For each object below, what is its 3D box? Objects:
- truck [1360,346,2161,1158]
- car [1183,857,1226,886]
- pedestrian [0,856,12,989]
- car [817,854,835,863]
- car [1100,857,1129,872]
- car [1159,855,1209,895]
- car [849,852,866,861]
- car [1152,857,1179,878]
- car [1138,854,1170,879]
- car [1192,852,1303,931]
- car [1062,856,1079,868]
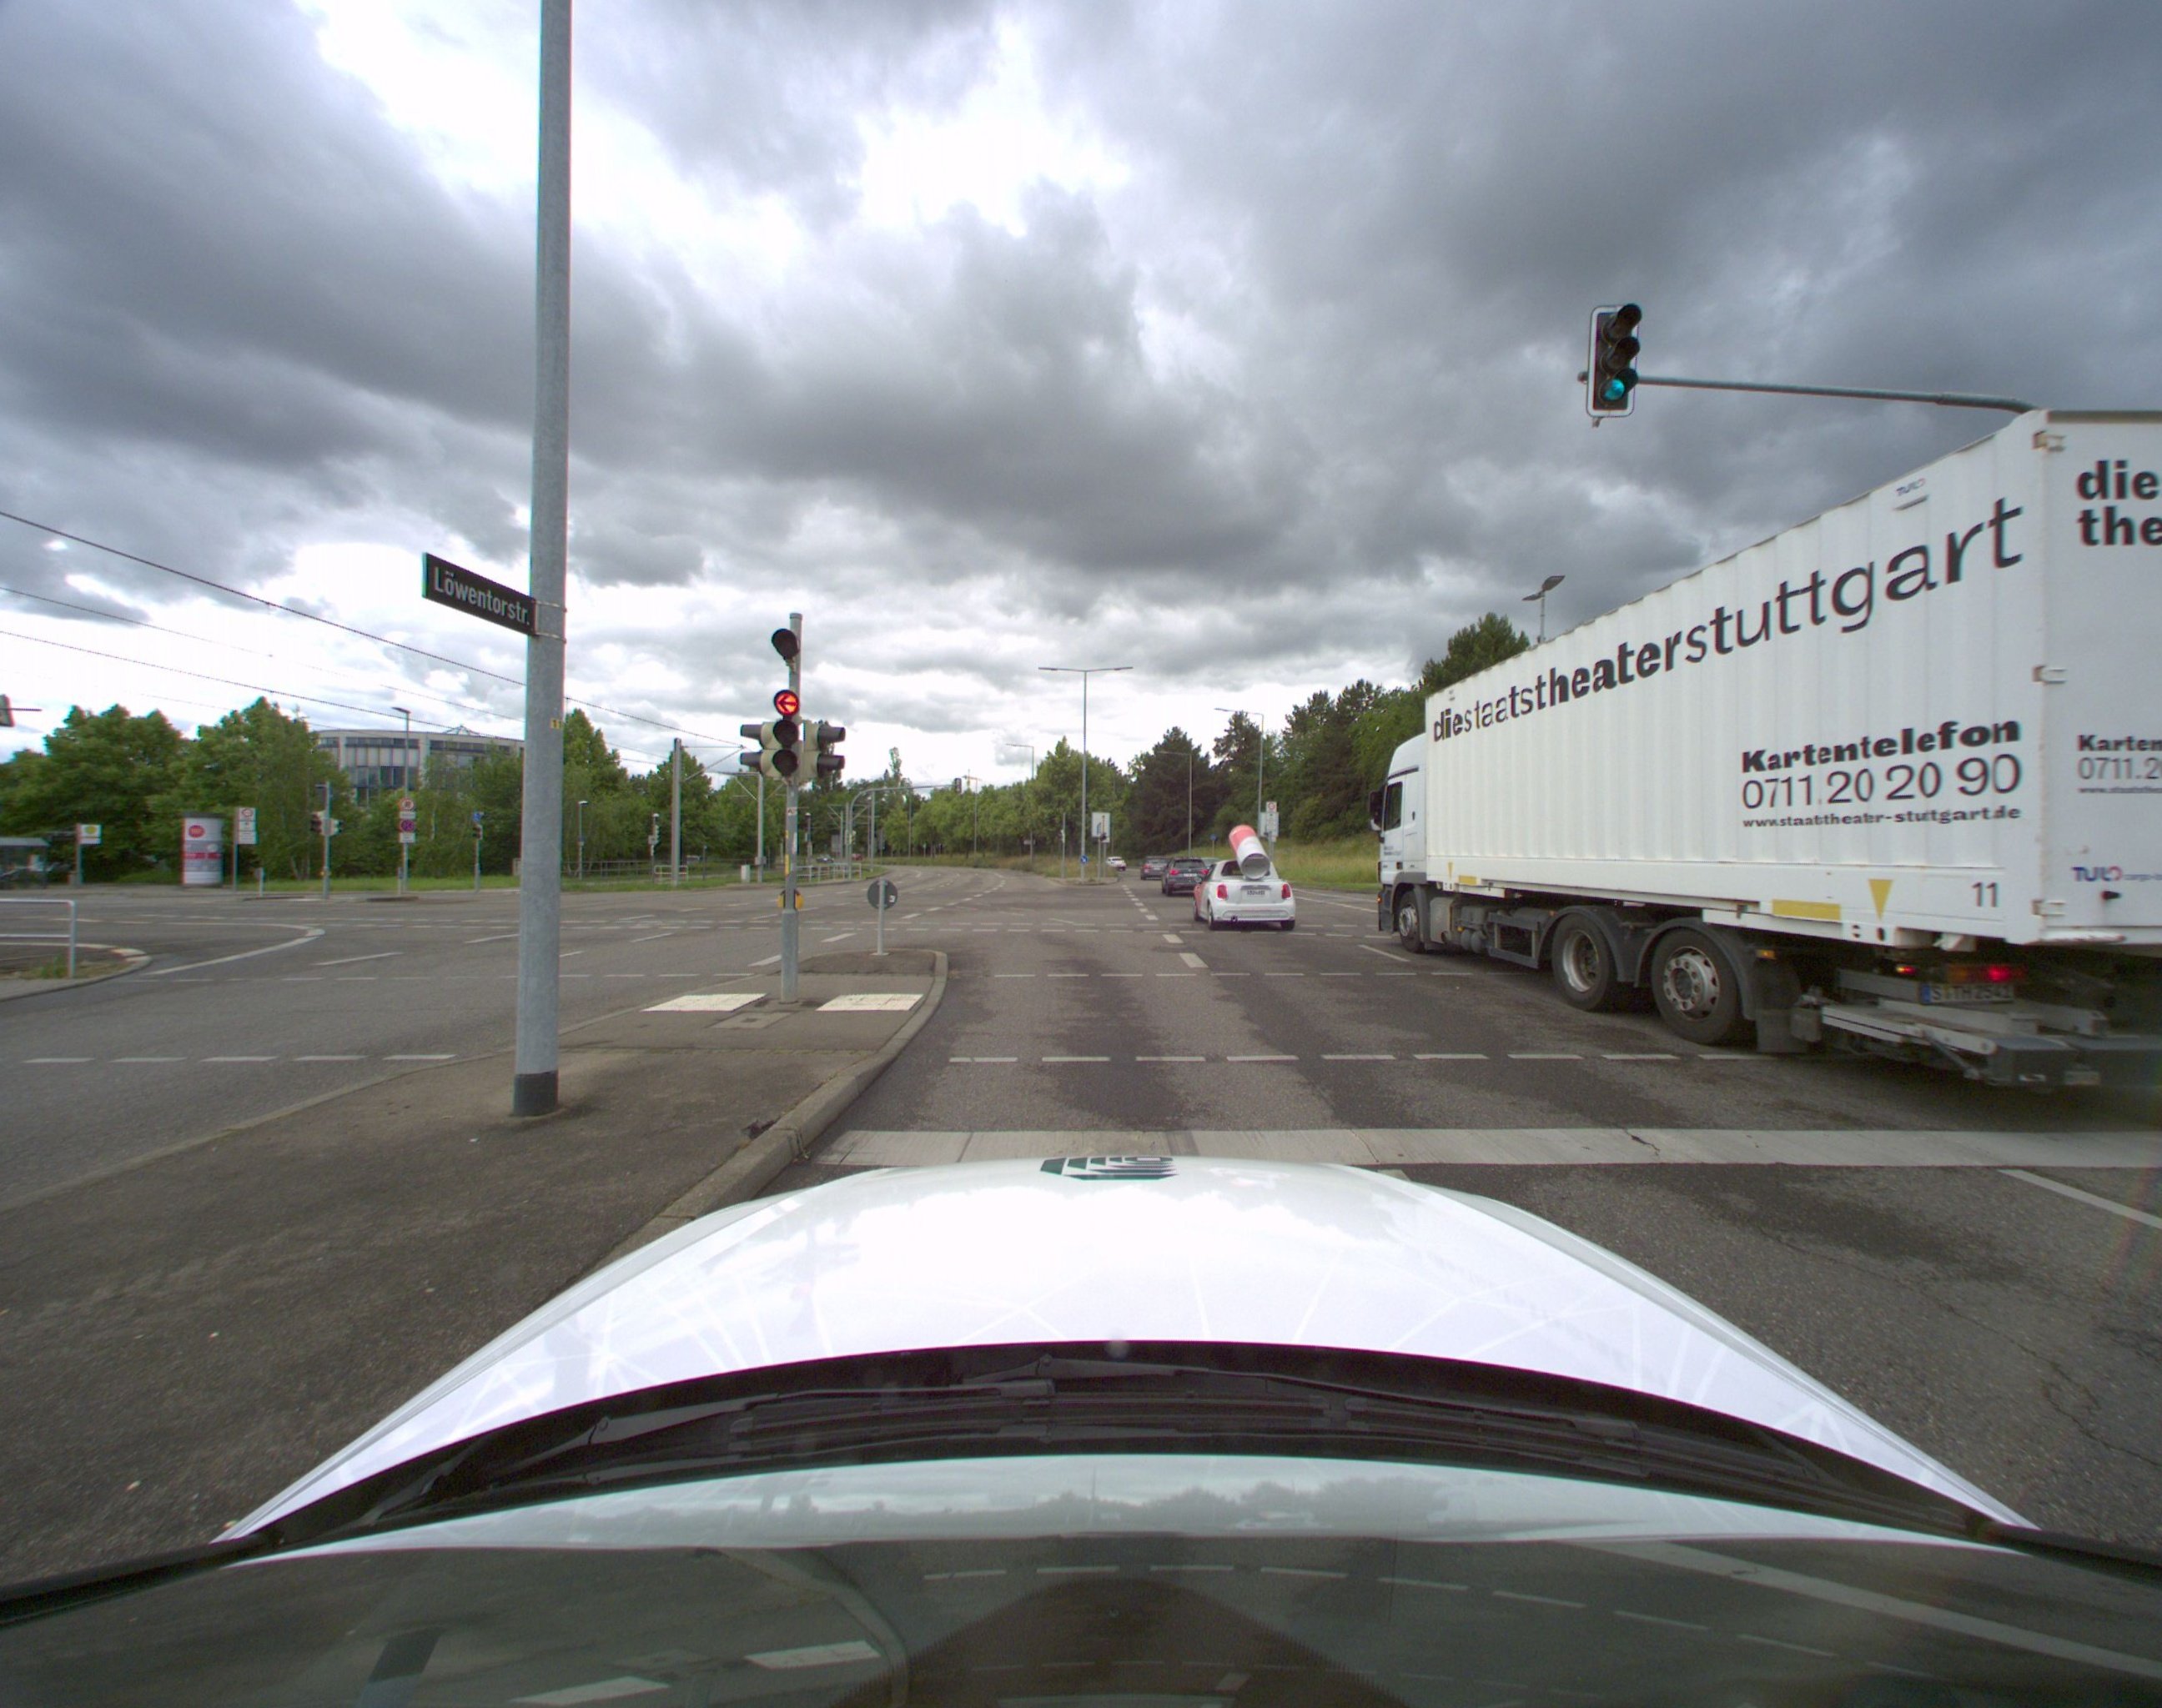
[{"bbox_3d":[6.067,-0.527,8.993,2.792,3.903,10.187,0,0,2],"label":"truck"},{"bbox_3d":[6.306,0.855,41.974,1.740,1.382,4.292,0,0,2],"label":"car"},{"bbox_3d":[-12.807,0.792,9.146,0.632,1.536,0.719,0,-1,-2],"label":"pedestrian"},{"bbox_3d":[-45.991,0.840,146.737,1.809,1.587,3.955,0,-1,-37],"label":"car"},{"bbox_3d":[3.456,1.108,85.042,1.846,1.506,4.510,0,-1,-13],"label":"car"},{"bbox_3d":[4.077,0.802,32.666,1.618,1.493,3.838,0,0,1],"label":"car"},{"bbox_3d":[-44.924,0.515,163.637,1.799,1.603,3.841,0,-1,-40],"label":"car"},{"bbox_3d":[6.344,0.991,61.472,1.740,1.485,4.358,0,1,2],"label":"car"},{"bbox_3d":[4.654,0.793,52.399,1.740,1.508,4.049,0,0,1],"label":"car"},{"bbox_3d":[3.449,0.715,17.511,1.814,1.506,3.497,0,0,2],"label":"car"},{"bbox_3d":[-1.401,1.098,107.111,1.596,1.516,2.750,0,-1,-18],"label":"car"}]
